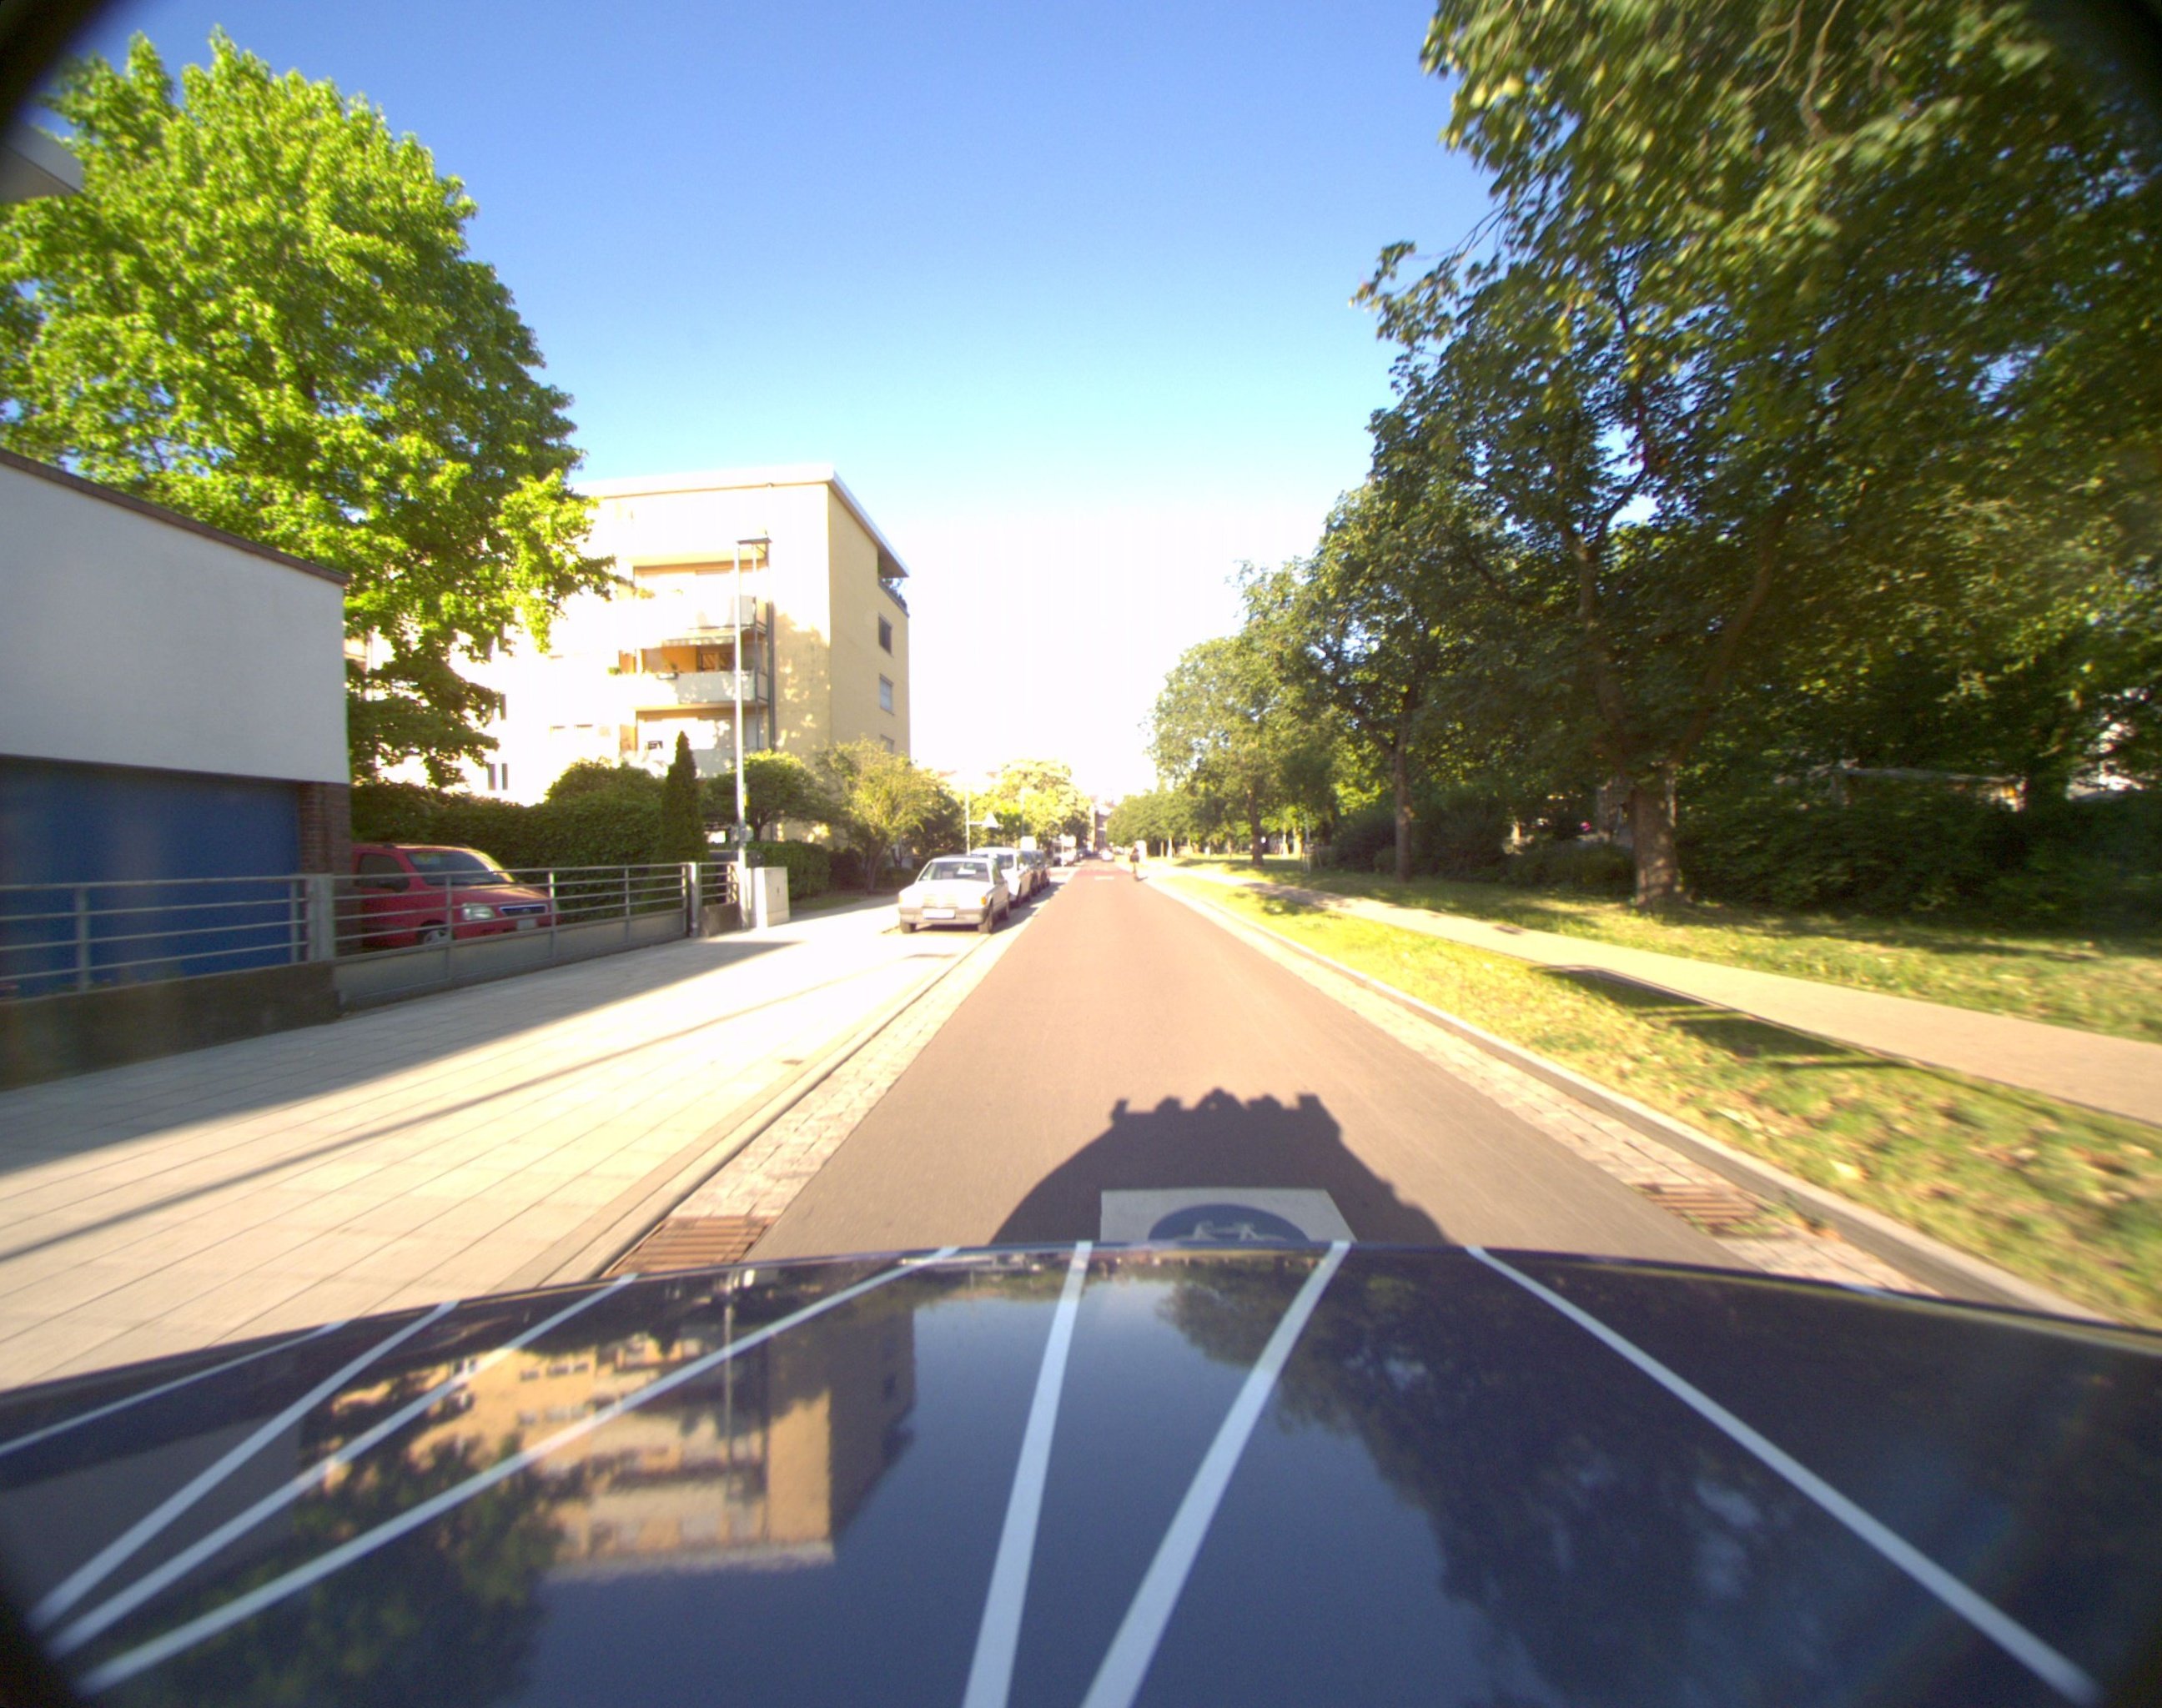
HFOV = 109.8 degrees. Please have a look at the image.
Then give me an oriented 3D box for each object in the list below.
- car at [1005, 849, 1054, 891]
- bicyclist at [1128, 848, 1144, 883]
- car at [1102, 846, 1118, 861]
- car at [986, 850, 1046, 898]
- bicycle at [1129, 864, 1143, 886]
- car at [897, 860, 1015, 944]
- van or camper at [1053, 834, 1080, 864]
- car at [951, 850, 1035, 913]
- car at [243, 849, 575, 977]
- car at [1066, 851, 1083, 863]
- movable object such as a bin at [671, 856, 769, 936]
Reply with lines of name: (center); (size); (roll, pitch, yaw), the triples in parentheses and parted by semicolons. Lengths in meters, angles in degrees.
car: (-2.086, 0.619, 31.807); (1.714, 1.601, 4.168); (1, 0, 0)
bicyclist: (2.701, 0.557, 37.275); (0.683, 1.663, 1.172); (0, 2, 1)
car: (3.820, -0.061, 100.606); (1.848, 1.837, 4.572); (-1, 0, -1)
car: (-2.211, 0.627, 26.743); (1.683, 1.546, 4.144); (0, 1, 1)
bicycle: (2.702, 1.026, 37.412); (0.558, 1.026, 1.914); (0, 1, 1)
car: (-2.368, 0.856, 15.447); (1.567, 1.382, 4.374); (0, 1, 2)
van or camper: (-1.345, -0.477, 73.384); (2.427, 2.767, 5.951); (1, 1, 0)
car: (-2.324, 0.670, 21.063); (1.682, 1.546, 4.130); (0, 1, 2)
car: (-9.453, 0.789, 10.825); (3.499, 1.632, 1.644); (-1, 1, 9)
car: (-0.811, 0.387, 97.207); (1.998, 1.501, 4.000); (-2, 0, 1)
movable object such as a bin: (-6.824, 0.767, 14.442); (1.240, 1.424, 1.123); (-1, 1, 3)
